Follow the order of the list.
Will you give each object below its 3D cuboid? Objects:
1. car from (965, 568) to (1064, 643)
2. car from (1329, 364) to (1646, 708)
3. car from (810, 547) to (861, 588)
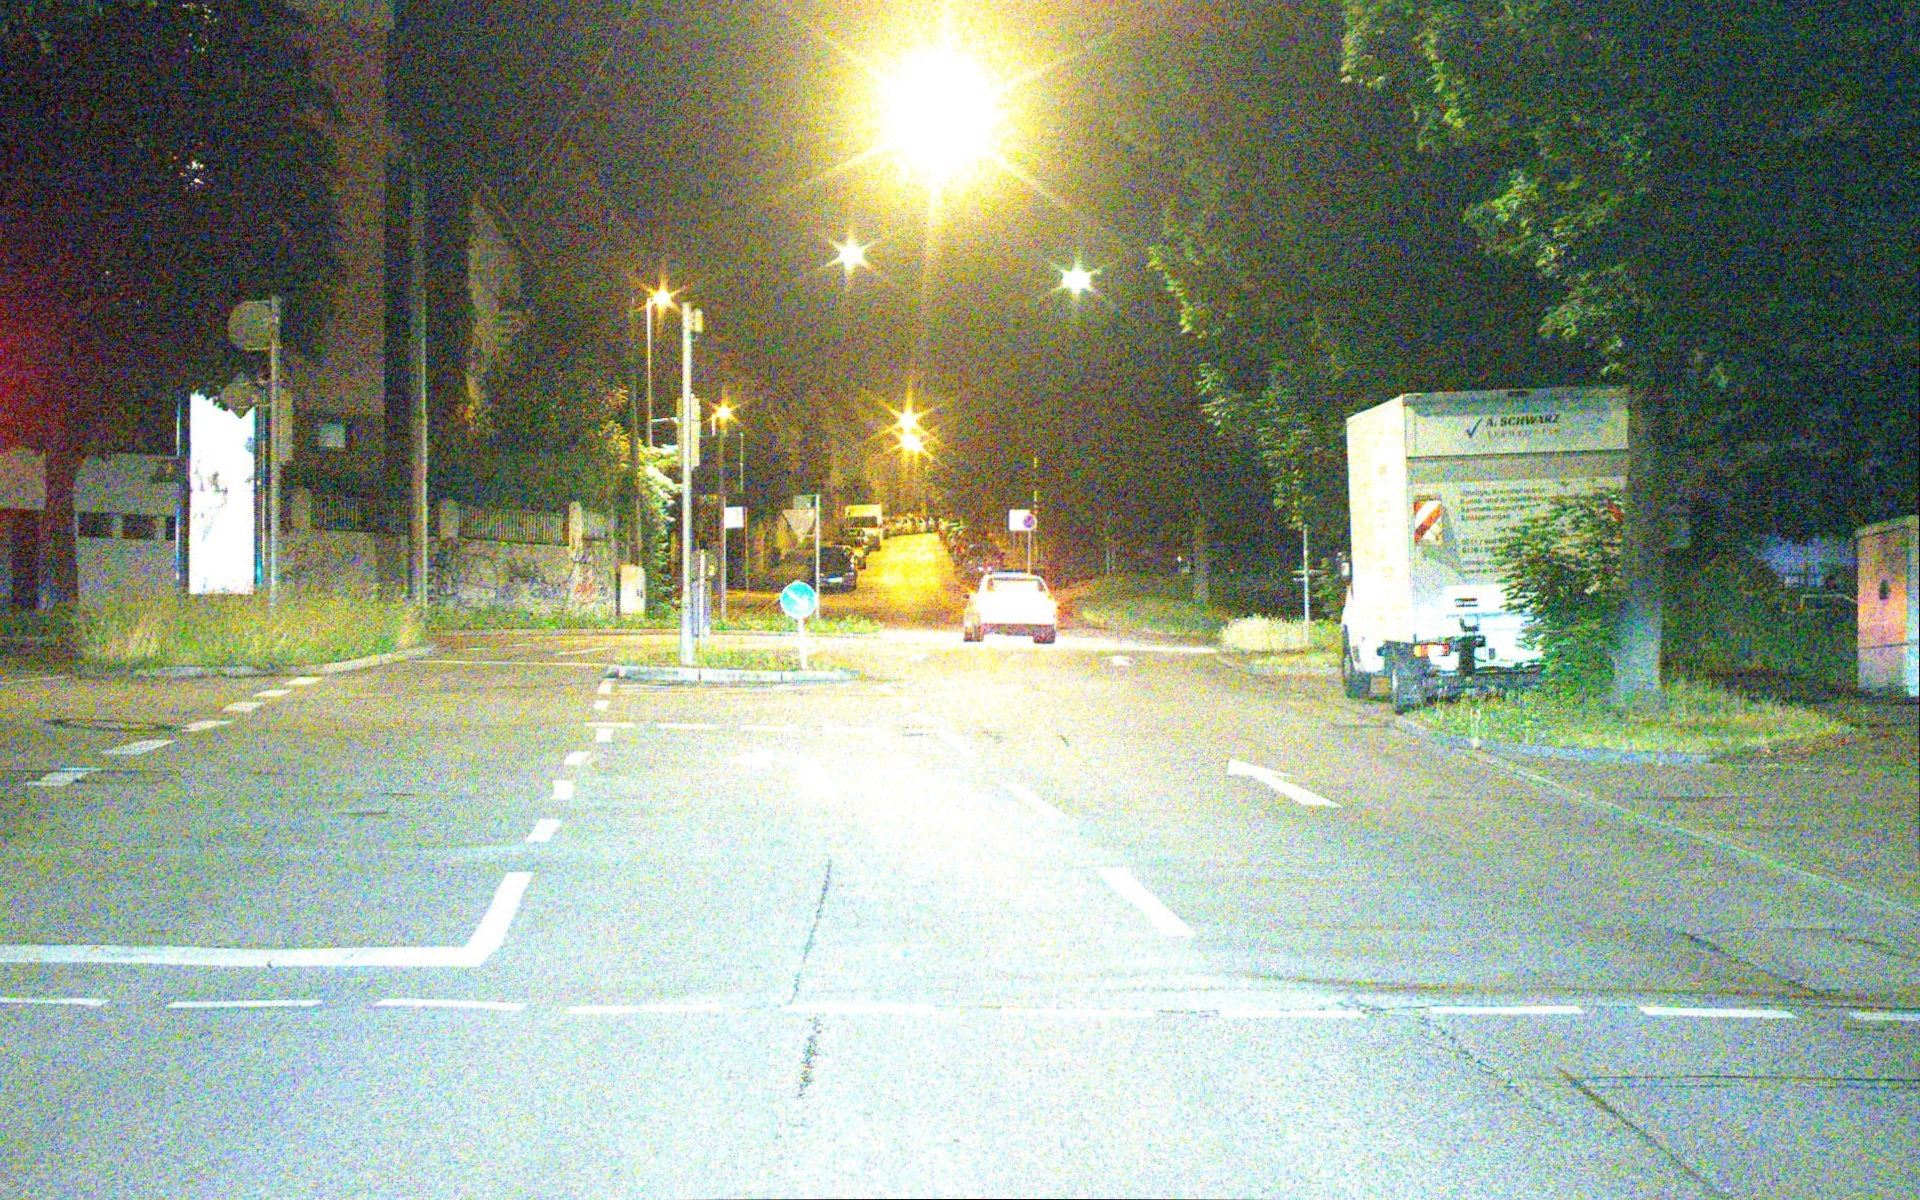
[{"bbox_3d":[1.096,0.090,71.356,1.776,1.481,4.000,1,1,-3],"label":"car"},{"bbox_3d":[5.117,-0.616,34.227,2.297,3.082,5.840,-1,1,1],"label":"car"},{"bbox_3d":[-4.854,-1.280,134.415,1.908,1.552,3.904,1,1,-1],"label":"car"}]
